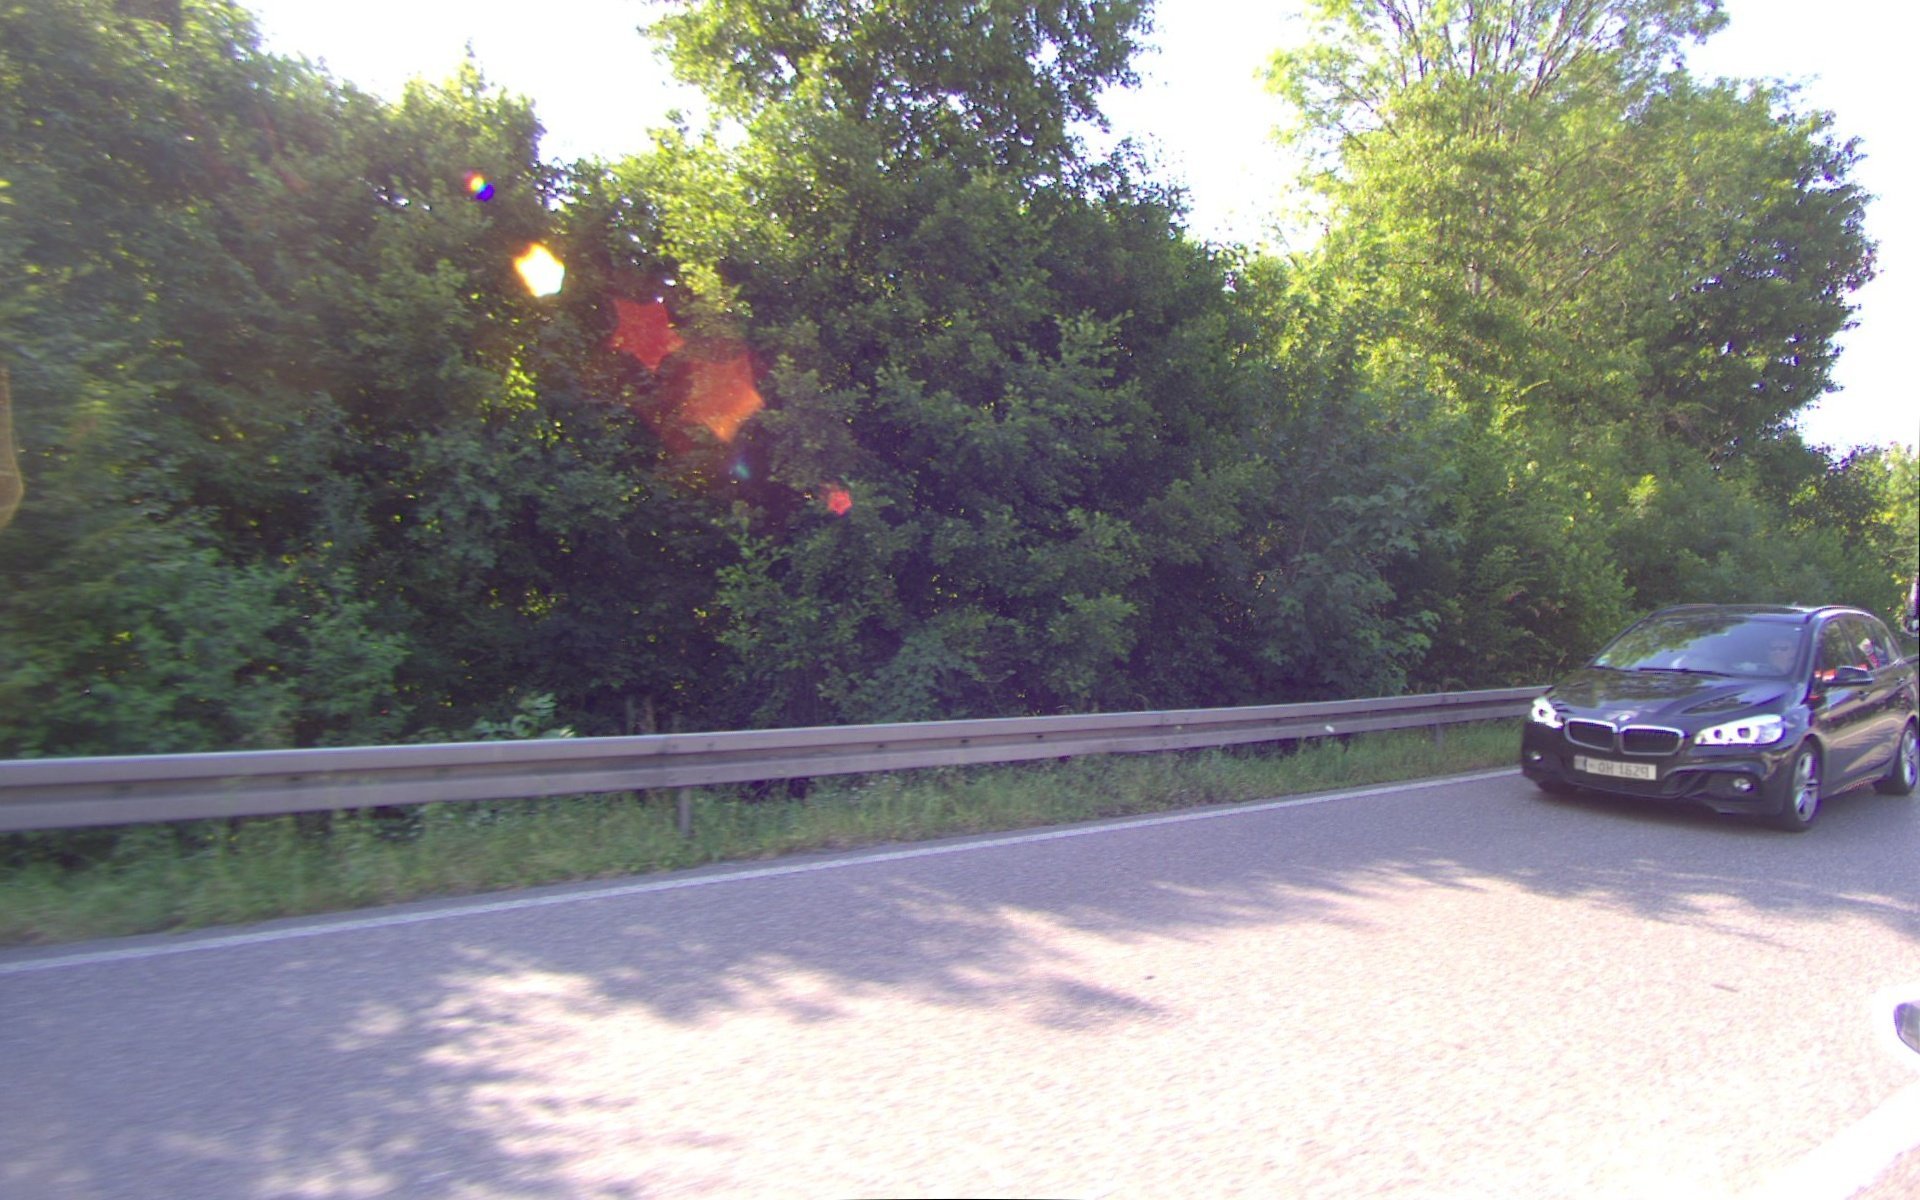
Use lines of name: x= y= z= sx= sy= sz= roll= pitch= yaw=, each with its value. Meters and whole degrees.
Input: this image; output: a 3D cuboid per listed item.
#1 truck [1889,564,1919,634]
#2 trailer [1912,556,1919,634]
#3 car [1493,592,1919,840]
truck: x=58.520 y=0.015 z=59.446 sx=3.399 sy=4.141 sz=6.479 roll=4 pitch=3 yaw=28
trailer: x=54.707 y=-0.140 z=52.933 sx=3.494 sy=4.574 sz=12.954 roll=4 pitch=3 yaw=31
car: x=6.534 y=0.792 z=8.530 sx=4.206 sy=1.610 sz=1.855 roll=1 pitch=0 yaw=-35
